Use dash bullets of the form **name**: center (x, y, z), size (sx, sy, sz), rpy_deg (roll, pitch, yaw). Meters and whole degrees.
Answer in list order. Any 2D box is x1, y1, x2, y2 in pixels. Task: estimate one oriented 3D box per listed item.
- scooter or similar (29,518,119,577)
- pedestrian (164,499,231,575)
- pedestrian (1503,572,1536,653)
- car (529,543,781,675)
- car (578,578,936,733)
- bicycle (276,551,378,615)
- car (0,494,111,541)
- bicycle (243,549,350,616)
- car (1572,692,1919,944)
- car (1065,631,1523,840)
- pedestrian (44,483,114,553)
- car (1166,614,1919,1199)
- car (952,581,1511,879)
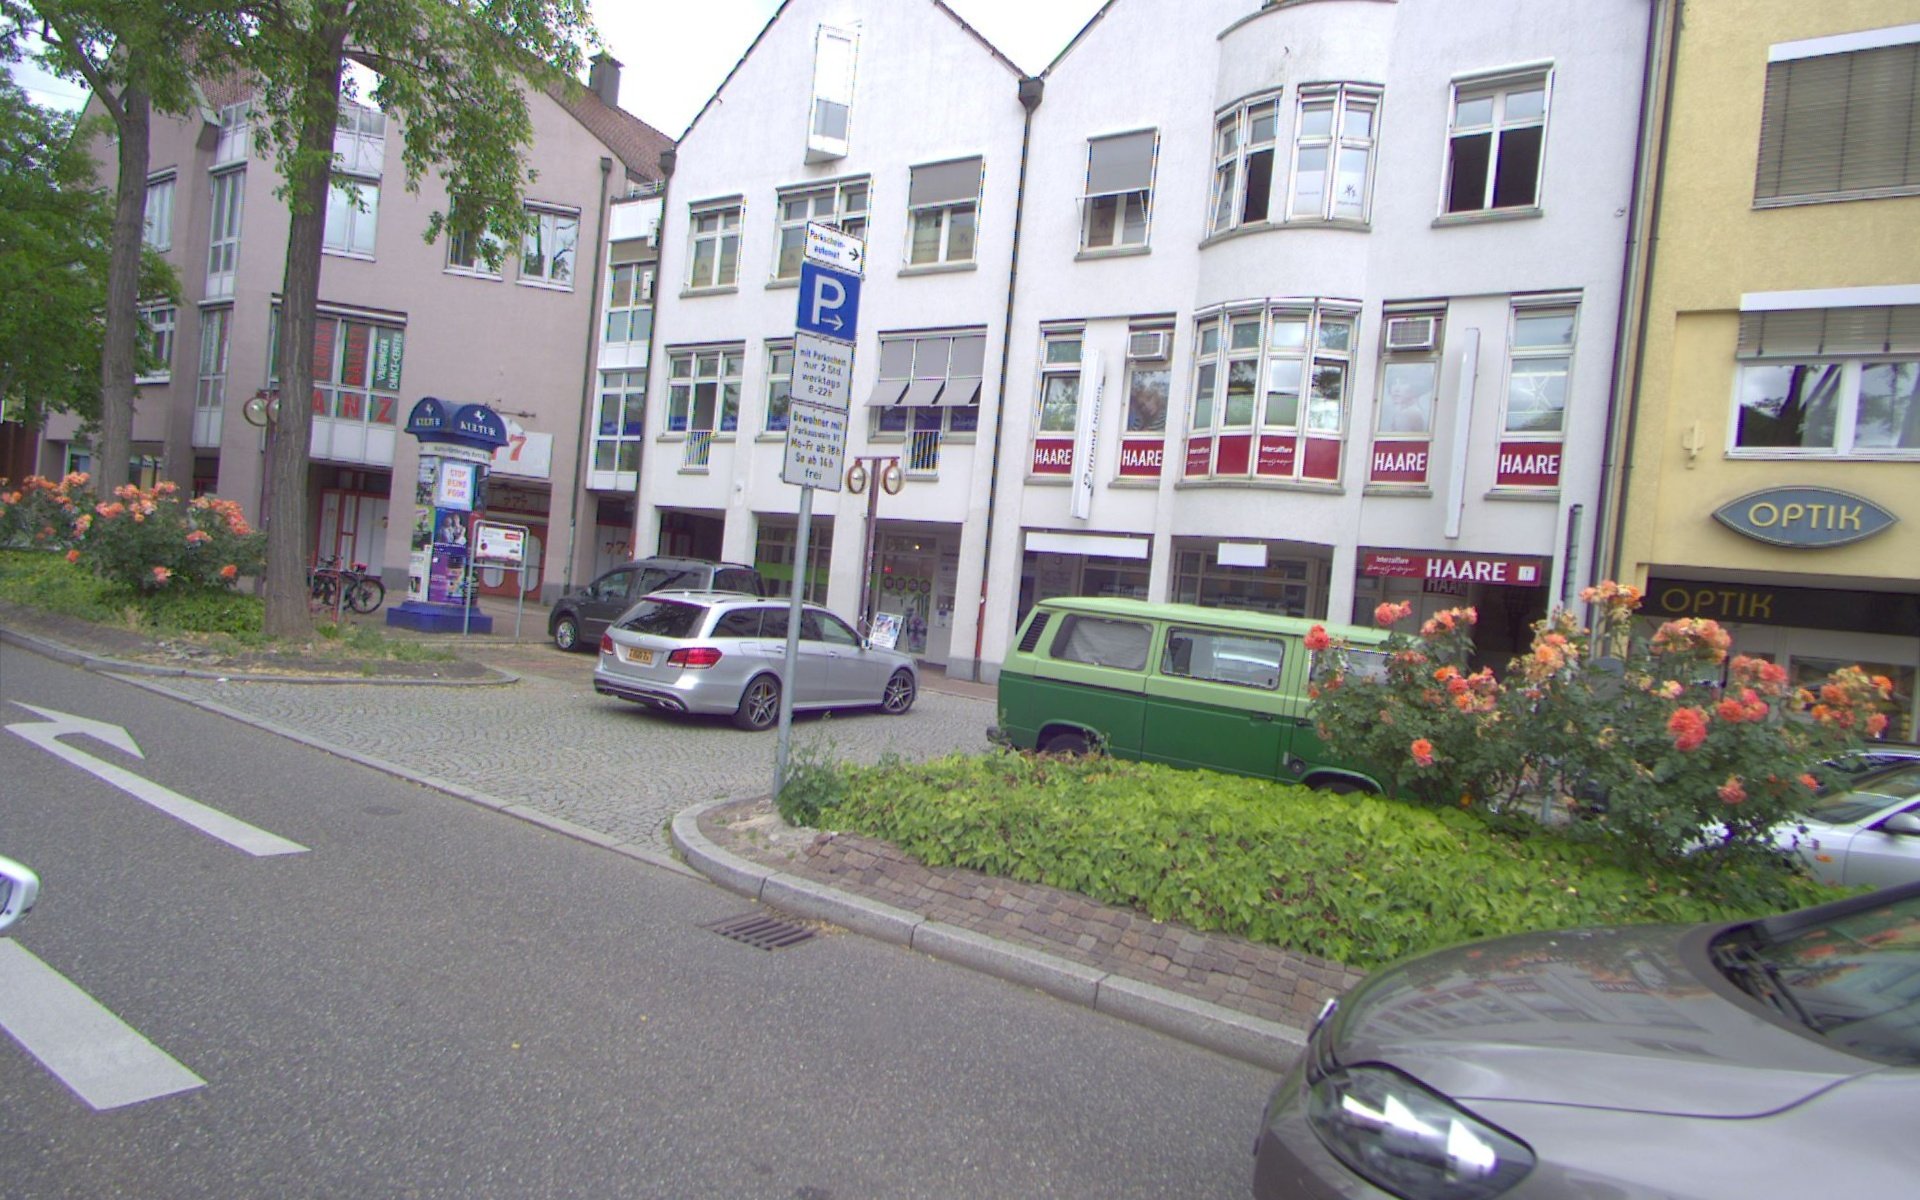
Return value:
- **scooter or similar**: center (-19.473, -1.143, 22.108), size (1.852, 1.101, 0.471), rpy_deg (6, 1, 14)
- **pedestrian**: center (-18.328, -1.512, 24.190), size (1.075, 1.647, 0.809), rpy_deg (7, 1, 29)
- **pedestrian**: center (11.625, 0.268, 20.905), size (0.416, 1.631, 0.556), rpy_deg (7, 1, 27)
- **car**: center (-5.419, 0.129, 17.754), size (4.188, 1.827, 1.736), rpy_deg (6, 1, 29)
- **car**: center (-2.317, 0.690, 12.855), size (1.711, 1.472, 4.642), rpy_deg (7, 0, 31)
- **bicycle**: center (-12.348, -0.325, 19.661), size (1.545, 1.061, 0.405), rpy_deg (7, 1, -17)
- **car**: center (-40.012, -3.638, 43.857), size (1.770, 1.421, 4.182), rpy_deg (7, -1, 29)
- **bicycle**: center (-12.506, -0.323, 18.990), size (1.545, 1.061, 0.405), rpy_deg (7, 1, -17)
- **car**: center (7.135, 1.650, 7.060), size (4.673, 1.326, 1.840), rpy_deg (6, 1, 30)
- **car**: center (3.837, 1.403, 11.831), size (4.672, 1.567, 1.996), rpy_deg (6, 1, 28)
- **pedestrian**: center (-24.521, -2.279, 28.009), size (1.091, 1.736, 1.057), rpy_deg (7, 0, 31)
- **car**: center (2.524, 1.073, 1.527), size (3.935, 1.547, 1.800), rpy_deg (7, -2, 33)
- **car**: center (2.513, 1.012, 9.633), size (4.672, 1.900, 1.996), rpy_deg (6, 1, 29)
